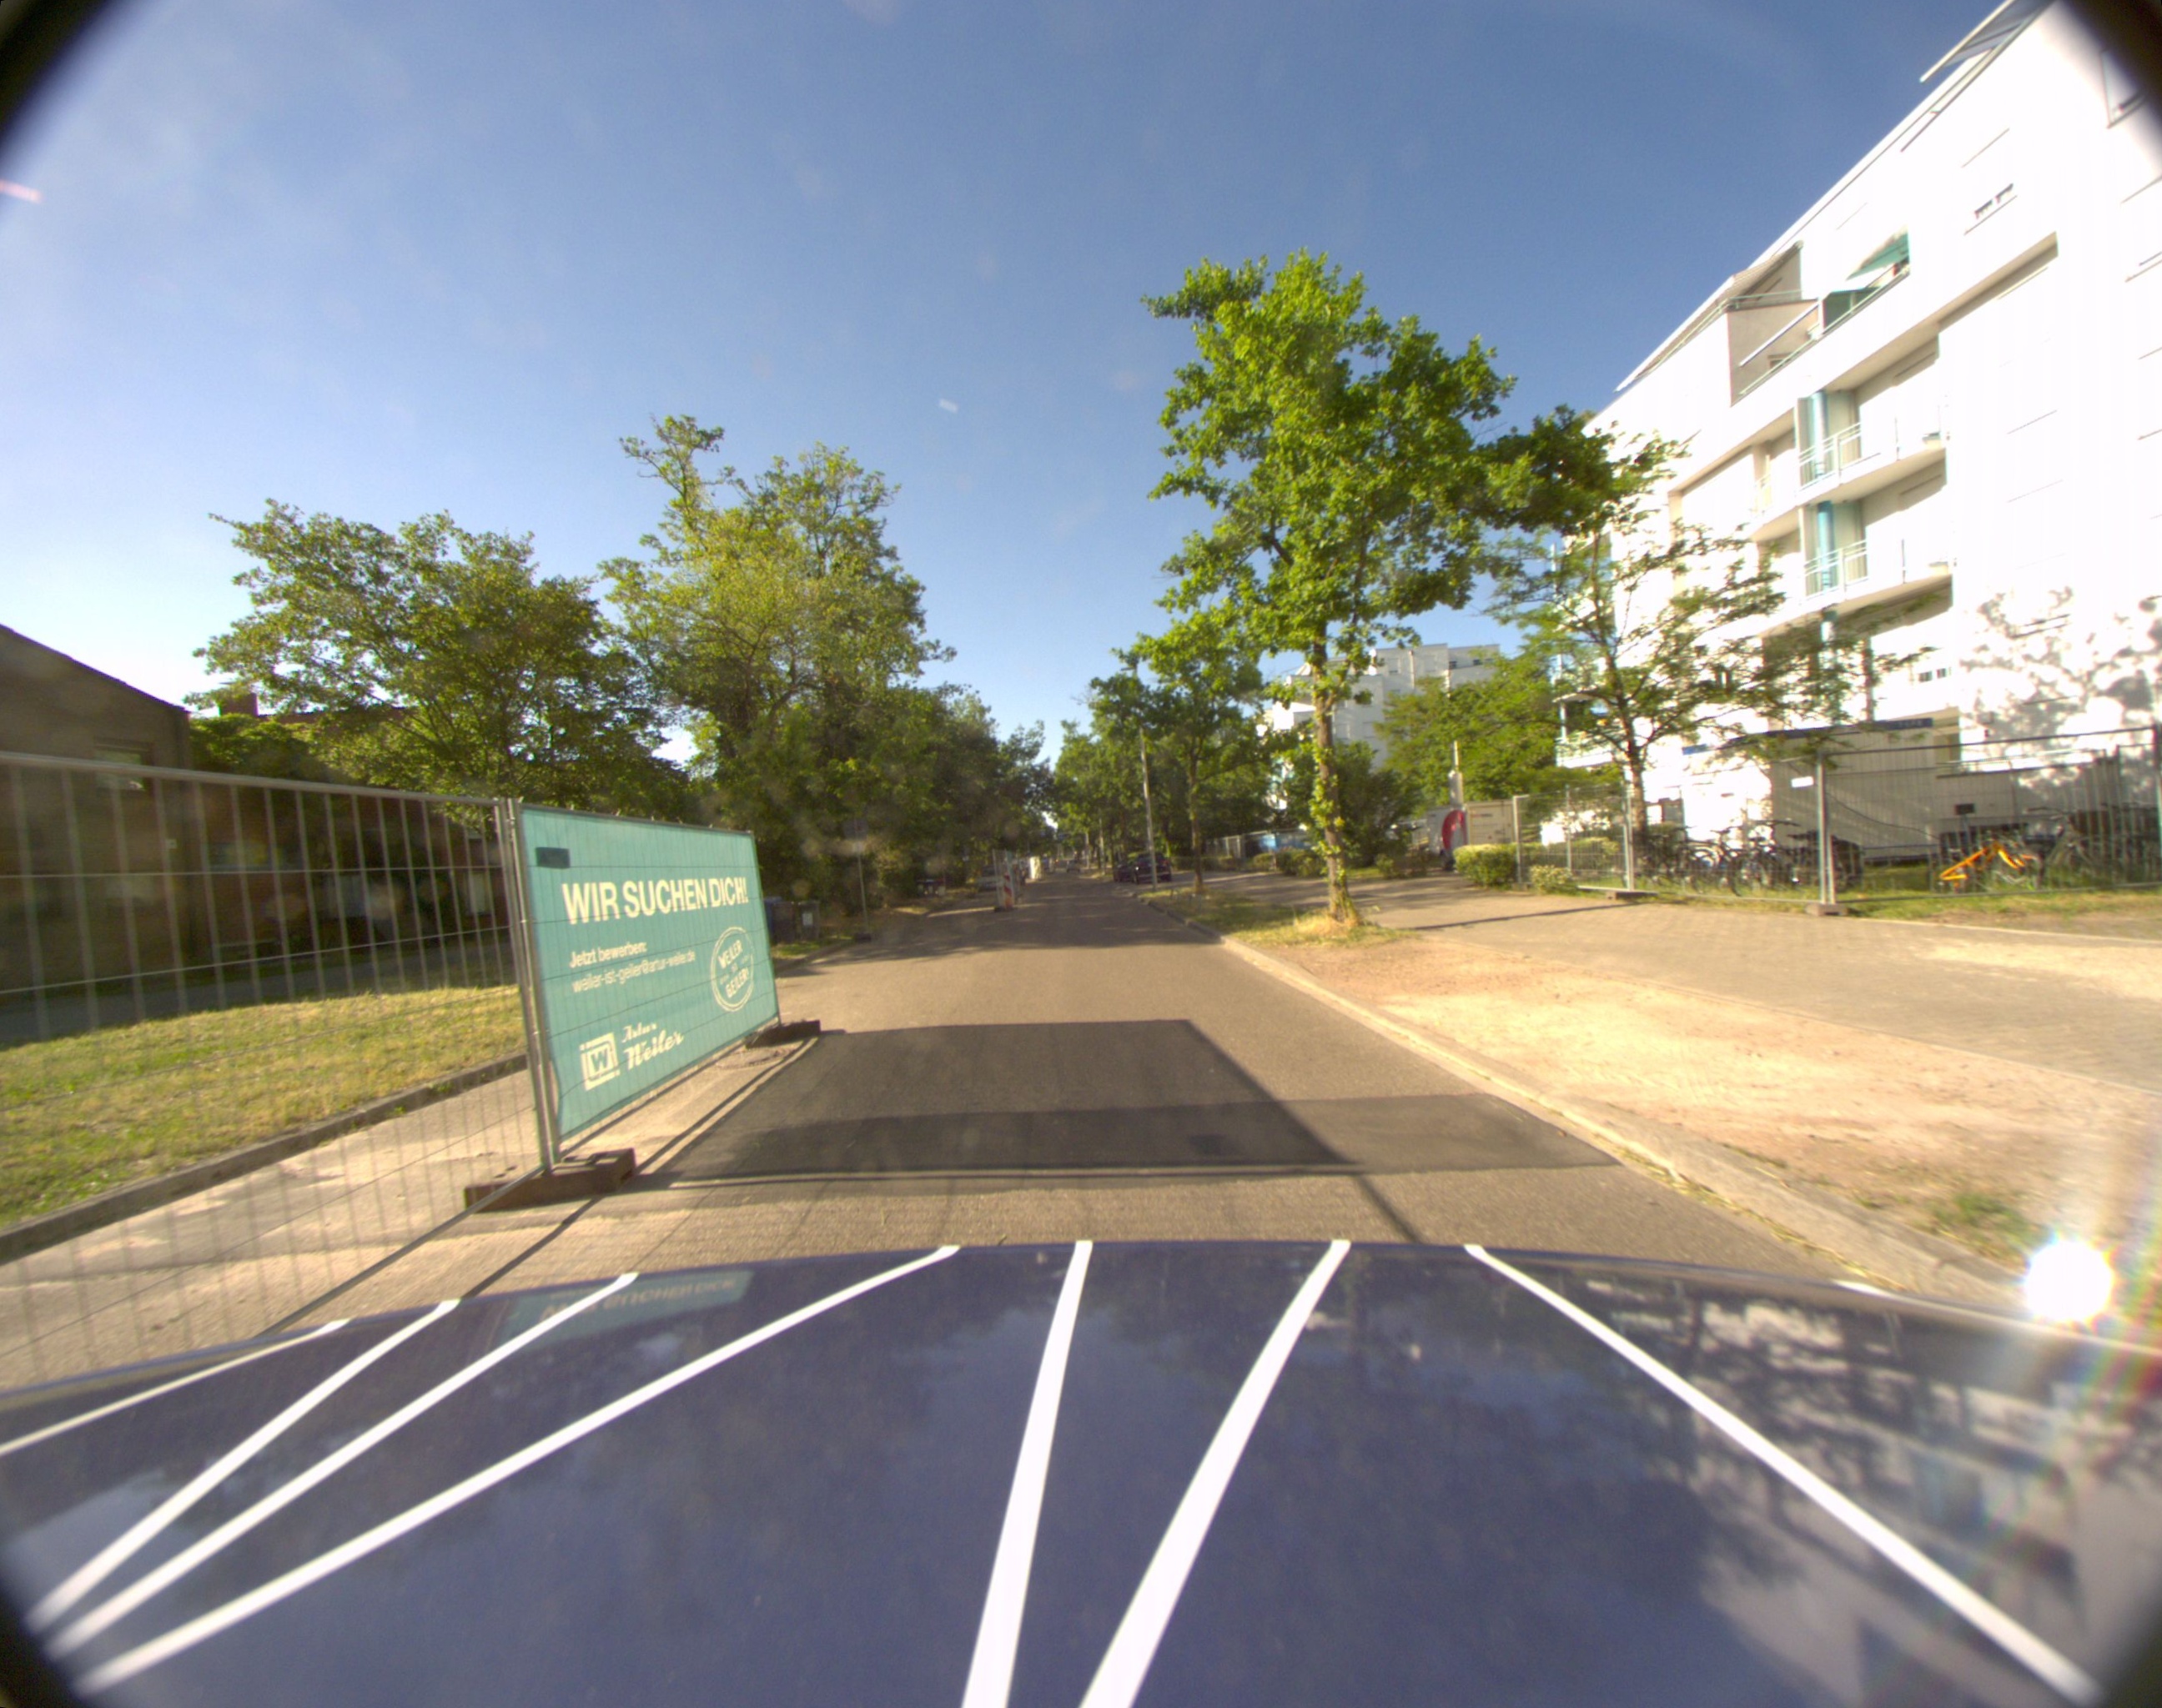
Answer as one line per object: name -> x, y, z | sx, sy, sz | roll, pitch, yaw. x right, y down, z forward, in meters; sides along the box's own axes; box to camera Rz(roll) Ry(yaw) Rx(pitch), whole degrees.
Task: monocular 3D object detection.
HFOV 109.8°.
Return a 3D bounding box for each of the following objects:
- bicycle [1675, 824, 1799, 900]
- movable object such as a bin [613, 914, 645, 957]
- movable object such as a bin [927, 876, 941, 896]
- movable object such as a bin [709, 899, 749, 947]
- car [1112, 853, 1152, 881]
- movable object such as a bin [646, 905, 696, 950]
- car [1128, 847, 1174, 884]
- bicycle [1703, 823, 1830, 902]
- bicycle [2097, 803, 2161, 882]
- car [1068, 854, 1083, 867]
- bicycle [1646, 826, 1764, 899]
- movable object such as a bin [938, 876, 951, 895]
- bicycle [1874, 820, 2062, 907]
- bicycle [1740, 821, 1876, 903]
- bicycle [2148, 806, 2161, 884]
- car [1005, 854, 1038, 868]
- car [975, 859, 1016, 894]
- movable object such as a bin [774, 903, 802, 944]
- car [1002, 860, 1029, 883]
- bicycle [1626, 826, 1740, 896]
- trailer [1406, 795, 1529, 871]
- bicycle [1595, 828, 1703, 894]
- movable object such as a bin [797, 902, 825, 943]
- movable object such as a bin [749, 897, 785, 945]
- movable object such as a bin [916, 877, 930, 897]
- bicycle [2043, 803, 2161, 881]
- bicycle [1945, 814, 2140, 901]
bicycle -> 10.200, 0.118, 11.813 | 1.865, 1.021, 0.400 | -4, 1, -13
movable object such as a bin -> -10.038, 1.799, 16.878 | 0.426, 0.877, 0.524 | -3, 1, -12
movable object such as a bin -> -6.954, 1.505, 35.919 | 0.485, 0.856, 0.559 | -5, 1, -3
movable object such as a bin -> -7.953, 1.548, 17.180 | 0.564, 0.994, 0.608 | -2, 1, 0
car -> 2.999, 0.758, 45.610 | 1.721, 1.424, 4.136 | -6, 0, -4
movable object such as a bin -> -9.211, 1.638, 17.098 | 0.696, 0.923, 0.695 | -2, 1, 0
car -> 3.546, 0.576, 38.987 | 1.780, 1.612, 4.220 | -6, 0, -1
bicycle -> 10.277, 0.114, 11.391 | 1.844, 1.021, 0.400 | -4, 1, -13
bicycle -> 15.088, -0.192, 10.379 | 1.698, 1.021, 0.400 | -4, 1, 5
car -> -0.746, 0.772, 97.297 | 1.664, 1.587, 4.007 | -3, 0, -3
bicycle -> 10.087, 0.121, 12.284 | 1.844, 1.021, 0.400 | -4, 1, -13
movable object such as a bin -> -6.463, 1.486, 35.950 | 0.485, 0.856, 0.559 | -5, 1, -3
bicycle -> 11.483, 0.103, 9.925 | 0.400, 1.021, 1.700 | -4, 1, -1
bicycle -> 10.485, 0.105, 10.951 | 1.921, 1.021, 0.400 | -4, 1, -13
bicycle -> 15.034, -0.172, 9.825 | 1.698, 1.021, 0.400 | -4, 1, 5
car -> -10.079, 1.152, 129.034 | 5.270, 1.993, 2.000 | -3, 0, -2
car -> -4.551, 1.184, 41.086 | 1.683, 1.612, 4.137 | -5, 0, -1
movable object such as a bin -> -6.578, 1.555, 17.072 | 0.414, 0.865, 0.484 | -2, 1, 0
car -> -4.784, 1.283, 55.828 | 1.497, 1.500, 2.677 | -5, 0, 2
bicycle -> 10.110, 0.113, 12.757 | 1.861, 1.021, 0.400 | -4, 1, -13
trailer -> 12.569, -0.636, 25.049 | 1.868, 2.108, 4.347 | -6, 0, 3
bicycle -> 10.241, 0.118, 13.700 | 1.875, 1.021, 0.400 | -4, 1, -13
movable object such as a bin -> -6.087, 1.533, 17.145 | 0.414, 0.865, 0.484 | -2, 1, 0
movable object such as a bin -> -7.101, 1.511, 17.217 | 0.520, 0.994, 0.608 | -2, 1, 0
movable object such as a bin -> -7.448, 1.554, 35.895 | 0.485, 0.856, 0.559 | -5, 1, -3
bicycle -> 15.194, -0.183, 11.056 | 1.698, 1.021, 0.400 | -4, 1, 5
bicycle -> 12.505, 0.027, 9.964 | 0.400, 1.021, 1.700 | -4, 1, 2
